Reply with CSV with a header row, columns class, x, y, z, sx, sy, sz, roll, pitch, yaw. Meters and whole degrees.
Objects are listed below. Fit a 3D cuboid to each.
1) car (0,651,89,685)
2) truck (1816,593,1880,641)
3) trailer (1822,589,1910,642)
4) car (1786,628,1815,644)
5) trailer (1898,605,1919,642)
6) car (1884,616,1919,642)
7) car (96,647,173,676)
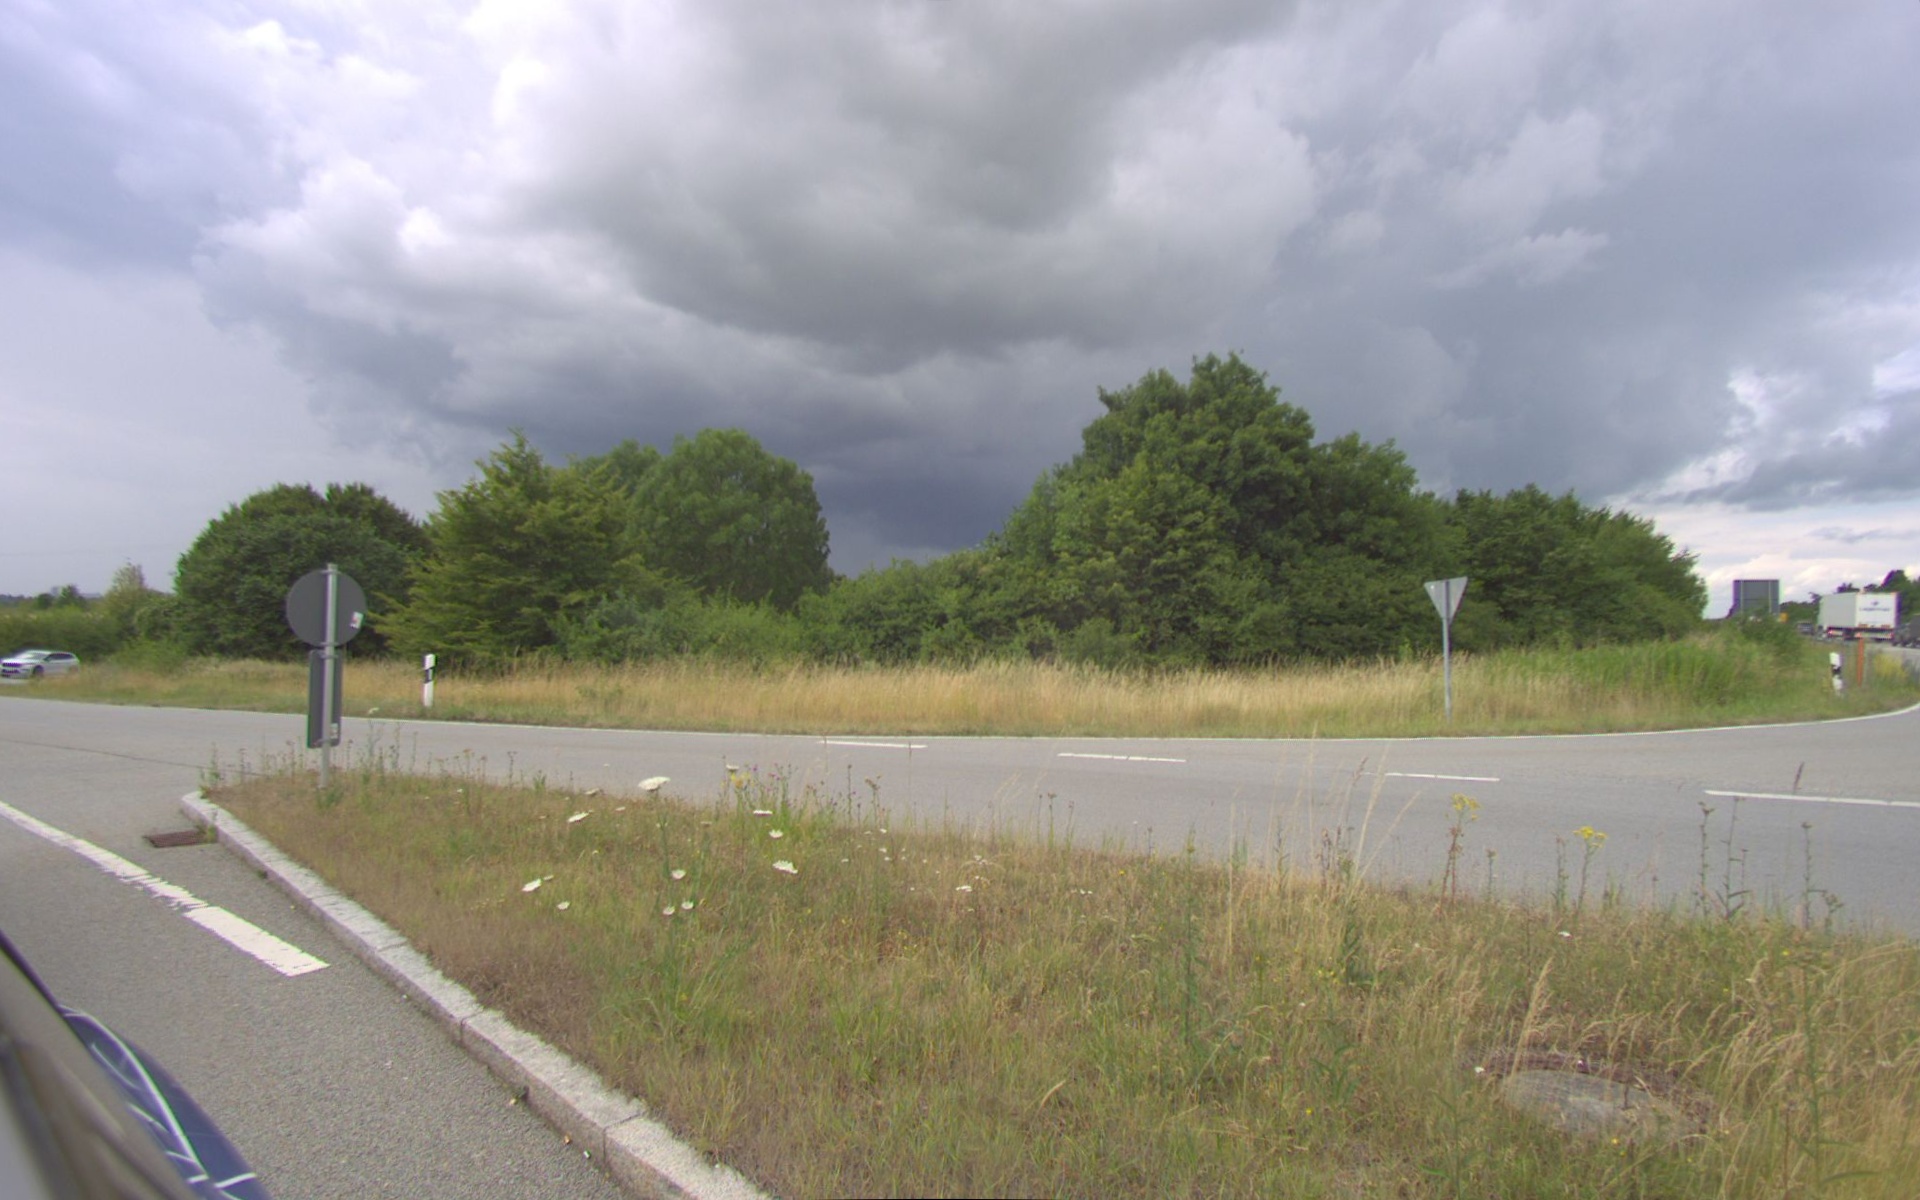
class,x,y,z,sx,sy,sz,roll,pitch,yaw
car,-54.116,3.957,59.613,1.967,1.732,5.221,3,-3,-13
truck,78.977,1.505,90.150,3.119,4.044,7.227,1,-1,32
trailer,75.597,1.317,84.783,3.119,4.044,13.734,1,-1,32
car,92.374,3.980,111.273,1.995,1.614,4.174,-1,-3,34
trailer,62.516,1.567,65.017,2.408,2.310,4.349,1,-1,31
car,64.771,1.996,68.754,1.992,1.695,4.432,1,-1,30
car,-56.990,4.212,69.978,1.967,1.732,5.222,3,-3,-13
